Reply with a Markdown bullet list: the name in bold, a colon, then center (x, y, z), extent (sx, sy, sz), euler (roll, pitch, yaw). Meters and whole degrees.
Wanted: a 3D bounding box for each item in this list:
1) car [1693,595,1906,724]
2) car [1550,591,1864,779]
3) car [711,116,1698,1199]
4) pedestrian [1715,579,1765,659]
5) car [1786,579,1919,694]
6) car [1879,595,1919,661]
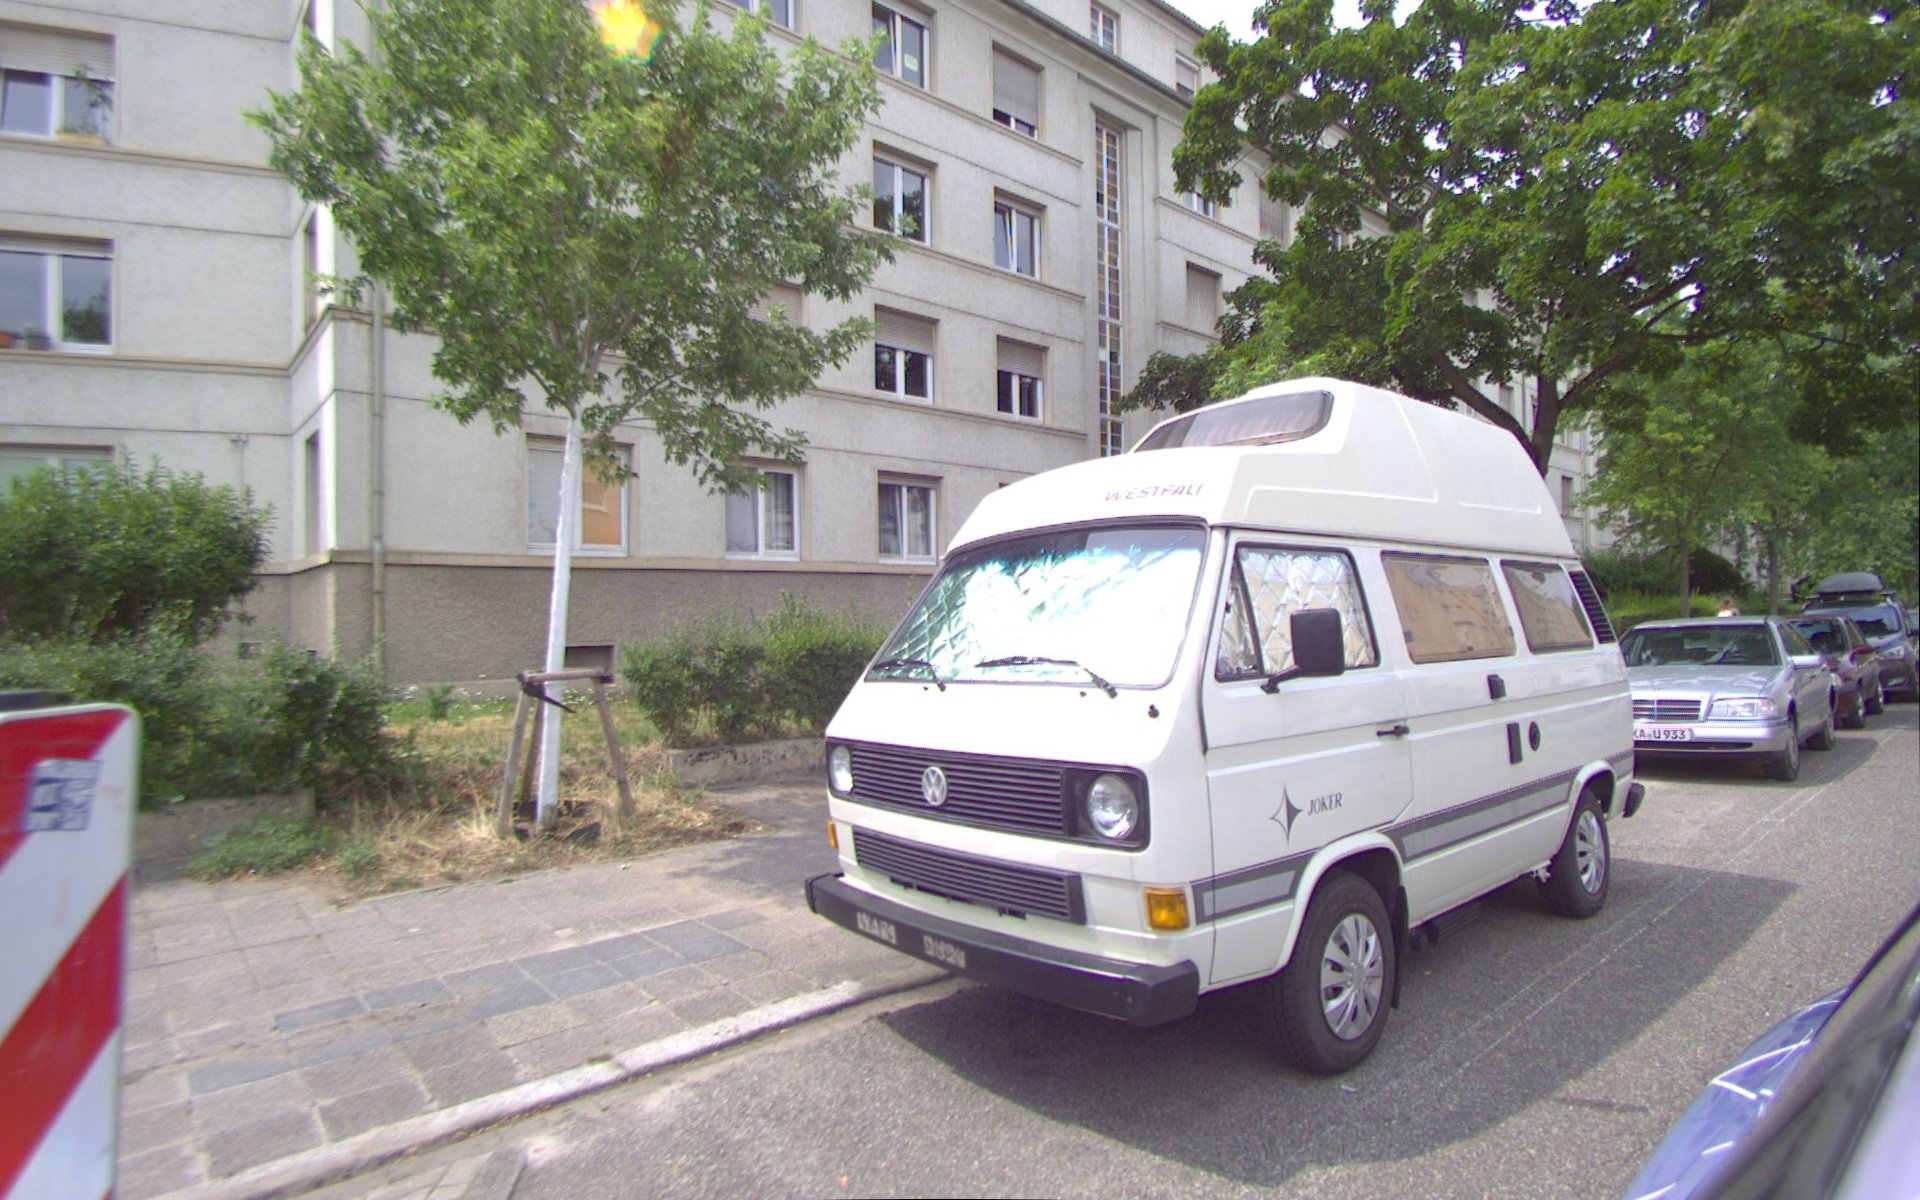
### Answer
- **car**: center (11.300, 0.720, 13.545), extent (3.722, 1.473, 1.673), euler (-1, -3, -43)
- **car**: center (7.624, 0.688, 10.136), extent (4.566, 1.469, 1.673), euler (-1, -2, -43)
- **car**: center (1.531, 0.168, 4.695), extent (4.820, 2.636, 1.897), euler (-1, -3, -41)
- **pedestrian**: center (18.272, 0.434, 23.712), extent (0.750, 1.826, 0.807), euler (-1, 1, -41)
- **car**: center (15.163, 0.510, 16.826), extent (4.200, 1.697, 1.673), euler (-1, 1, -43)
- **car**: center (22.628, 0.612, 23.303), extent (3.718, 1.418, 1.675), euler (-1, 1, -40)
